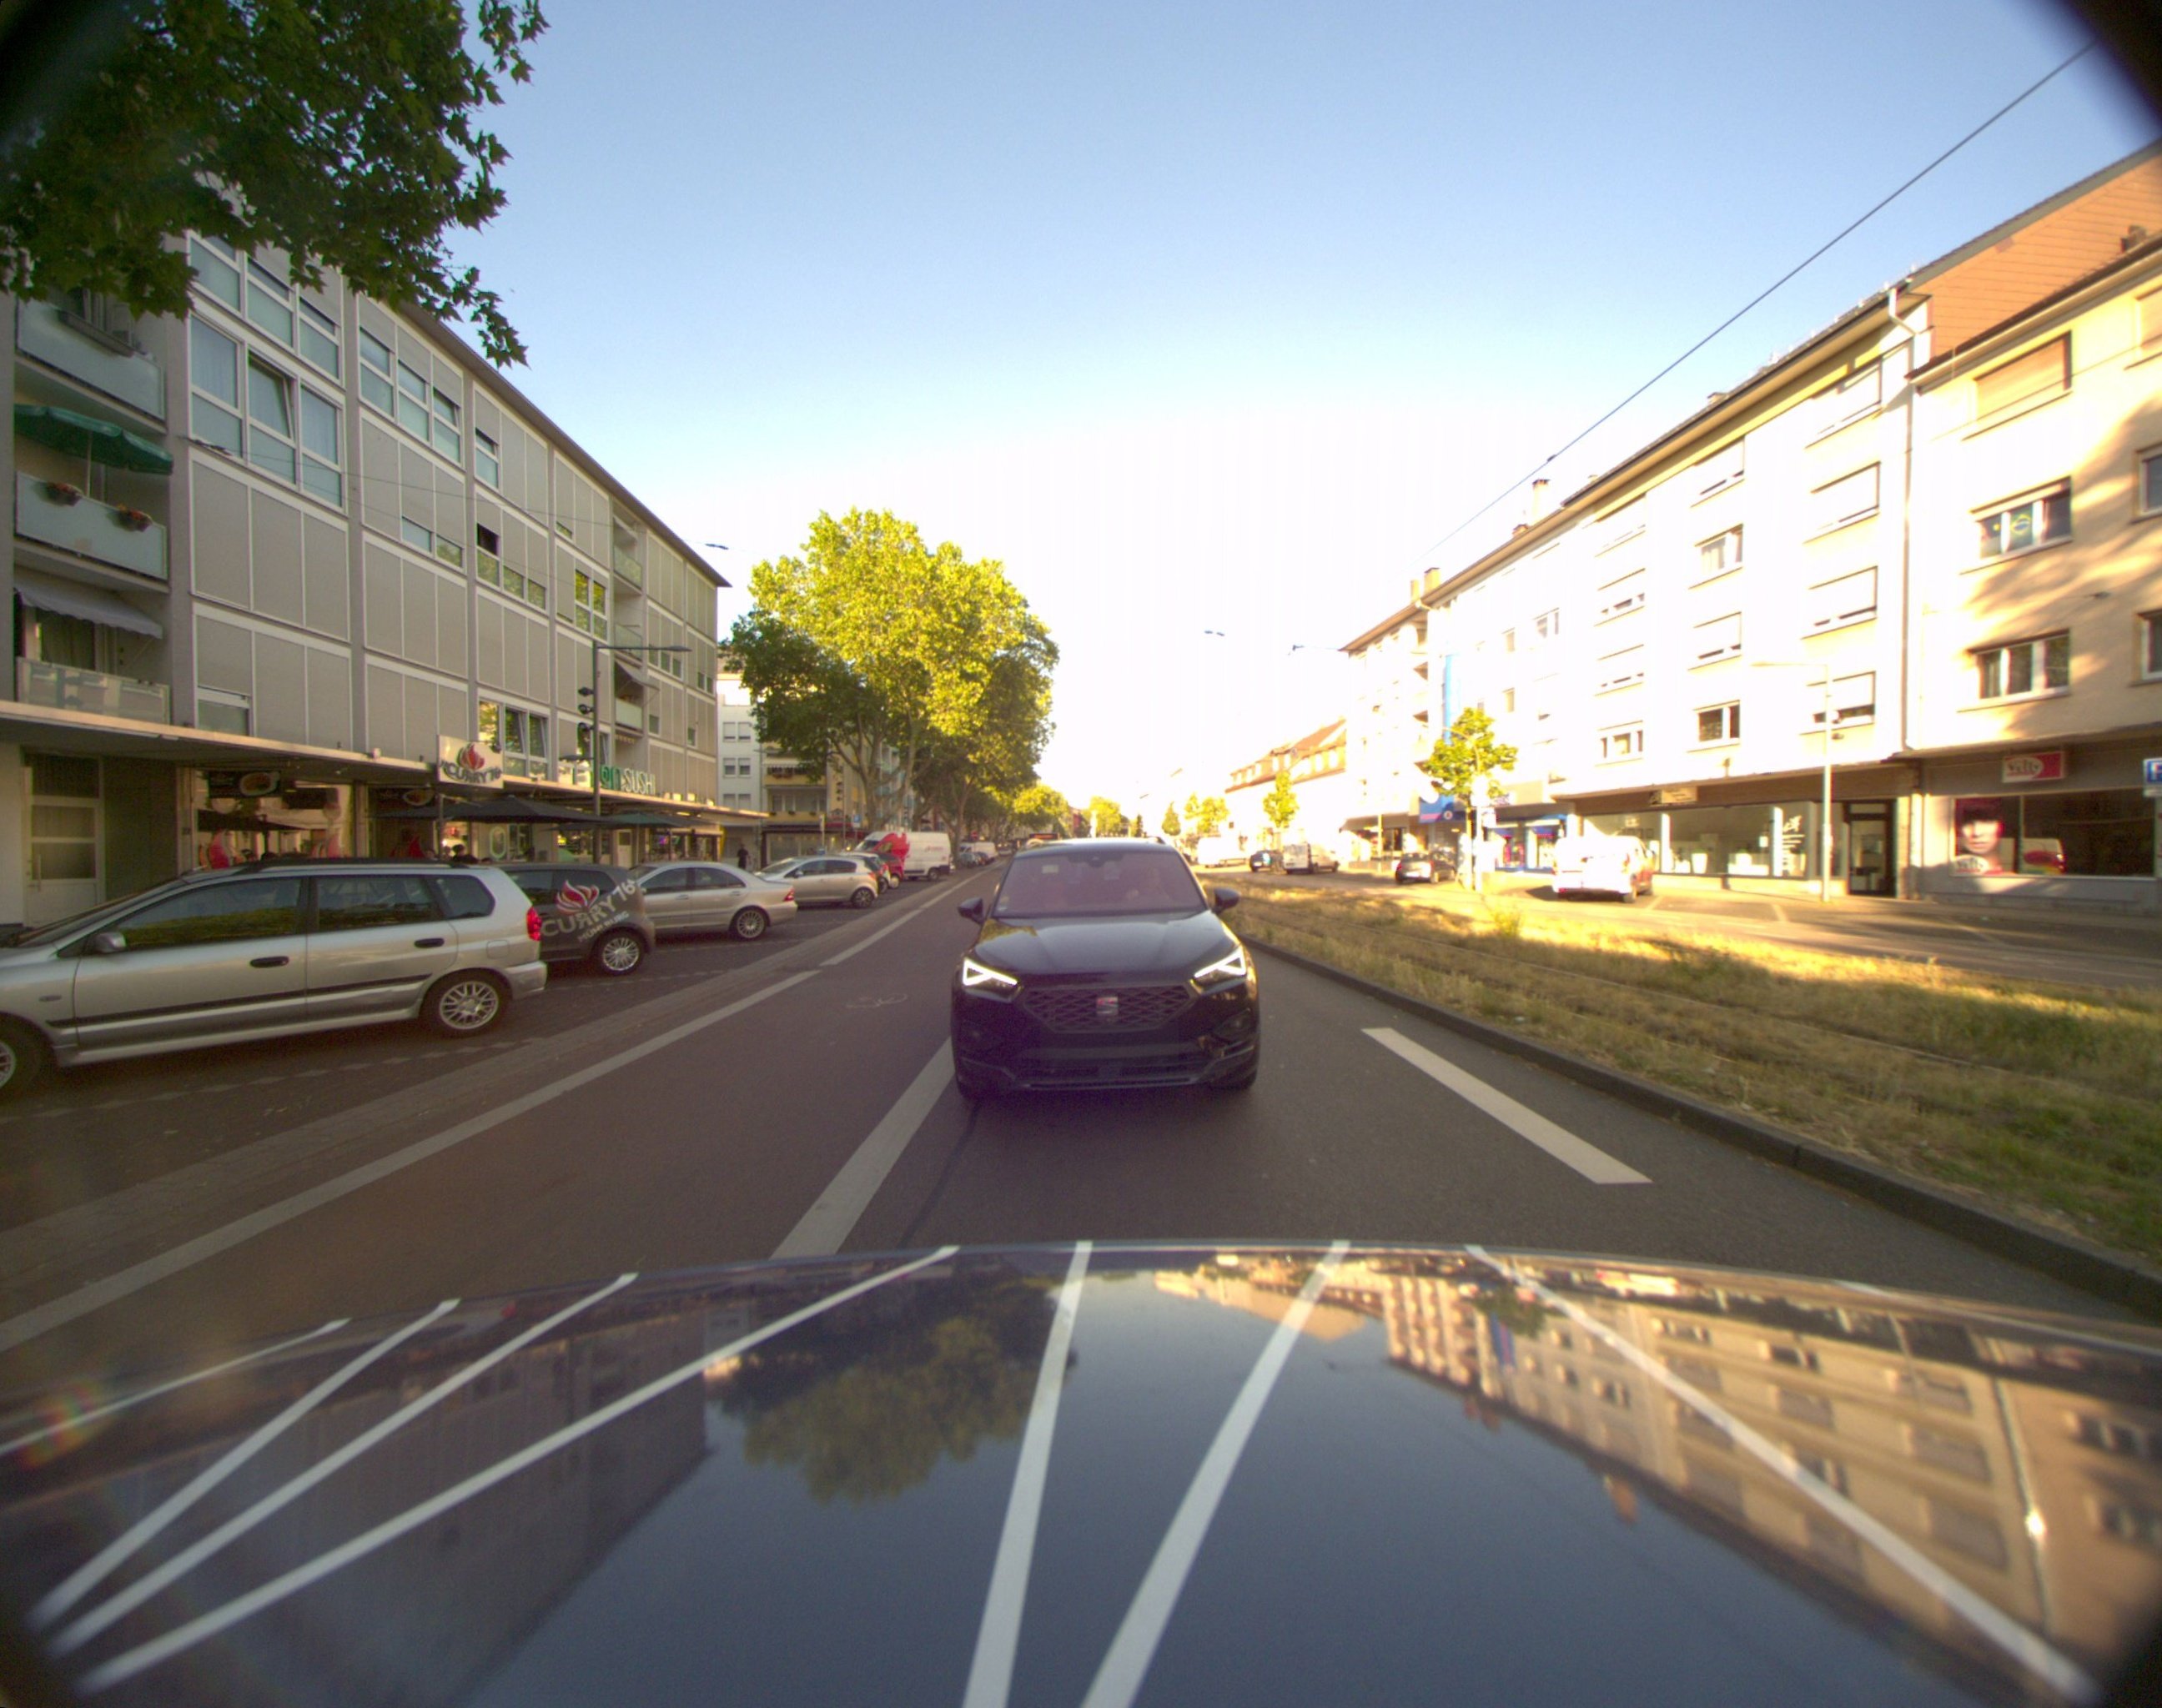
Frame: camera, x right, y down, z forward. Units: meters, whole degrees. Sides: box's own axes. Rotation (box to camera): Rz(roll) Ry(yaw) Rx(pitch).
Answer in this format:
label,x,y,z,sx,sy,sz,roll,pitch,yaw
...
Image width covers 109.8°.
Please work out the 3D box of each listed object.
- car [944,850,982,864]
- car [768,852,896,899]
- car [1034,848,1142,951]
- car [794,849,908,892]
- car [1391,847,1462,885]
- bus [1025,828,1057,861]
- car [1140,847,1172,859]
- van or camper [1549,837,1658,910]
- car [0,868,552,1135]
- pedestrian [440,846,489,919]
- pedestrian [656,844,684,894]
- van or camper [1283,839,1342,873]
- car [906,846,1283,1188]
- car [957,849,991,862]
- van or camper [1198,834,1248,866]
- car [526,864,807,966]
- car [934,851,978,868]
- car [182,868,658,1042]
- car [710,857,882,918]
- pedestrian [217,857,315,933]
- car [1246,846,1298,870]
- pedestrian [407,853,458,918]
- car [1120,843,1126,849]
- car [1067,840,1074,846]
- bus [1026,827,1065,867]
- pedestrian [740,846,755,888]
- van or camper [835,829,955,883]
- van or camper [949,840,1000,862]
label,x,y,z,sx,sy,sz,roll,pitch,yaw
car,-11.482,0.255,74.023,3.337,1.339,1.526,0,2,-44
car,-8.793,0.700,27.018,4.008,1.514,1.654,0,2,-44
car,0.068,0.681,13.684,1.659,1.572,3.999,0,1,-1
car,-9.098,0.616,30.213,4.008,1.555,1.654,0,2,-44
car,15.624,0.520,34.228,1.765,1.482,4.460,-1,1,39
bus,-4.199,-1.074,77.552,2.873,2.962,12.231,-2,2,-5
car,10.165,-0.181,103.194,3.921,1.482,1.766,-3,1,-27
van or camper,15.832,0.512,22.898,1.946,1.887,4.824,-1,1,43
car,-6.912,0.963,6.095,1.804,1.597,4.008,1,1,38
pedestrian,-13.779,0.616,16.996,0.538,1.582,0.686,2,1,-5
pedestrian,-13.416,0.478,24.820,0.538,1.582,0.686,2,1,-5
van or camper,14.585,0.118,47.793,1.795,1.978,4.460,-1,1,41
car,0.096,0.794,5.772,1.808,1.638,3.999,-2,1,1
car,-11.392,0.171,81.276,3.337,1.339,1.526,0,2,-44
van or camper,12.907,-0.399,68.560,1.994,2.652,6.410,-1,1,34
car,-7.127,0.936,13.366,1.654,1.428,4.009,2,2,43
car,-10.555,0.475,64.234,3.337,1.339,1.526,0,2,-44
car,-7.575,0.964,9.078,1.804,1.498,4.008,1,1,38
car,-7.614,0.831,20.510,4.008,1.428,1.654,0,2,-44
pedestrian,-15.159,0.742,14.159,0.750,1.354,0.962,0,1,0
car,13.750,0.294,54.654,1.874,1.577,4.008,-1,1,43
pedestrian,-14.410,0.697,16.892,0.538,1.392,0.686,2,1,-5
car,13.119,-2.449,238.543,1.869,1.832,3.826,0,1,2
car,-2.569,-2.667,185.028,1.740,1.539,3.999,0,1,0
bus,-3.207,-0.714,65.452,2.873,2.962,12.231,-2,2,-5
pedestrian,-16.317,0.624,37.169,0.552,2.002,0.576,-3,1,-18
van or camper,-9.112,0.057,37.611,5.474,2.455,1.994,-1,1,-44
van or camper,-11.828,-0.367,84.767,1.994,2.455,5.474,1,1,44
